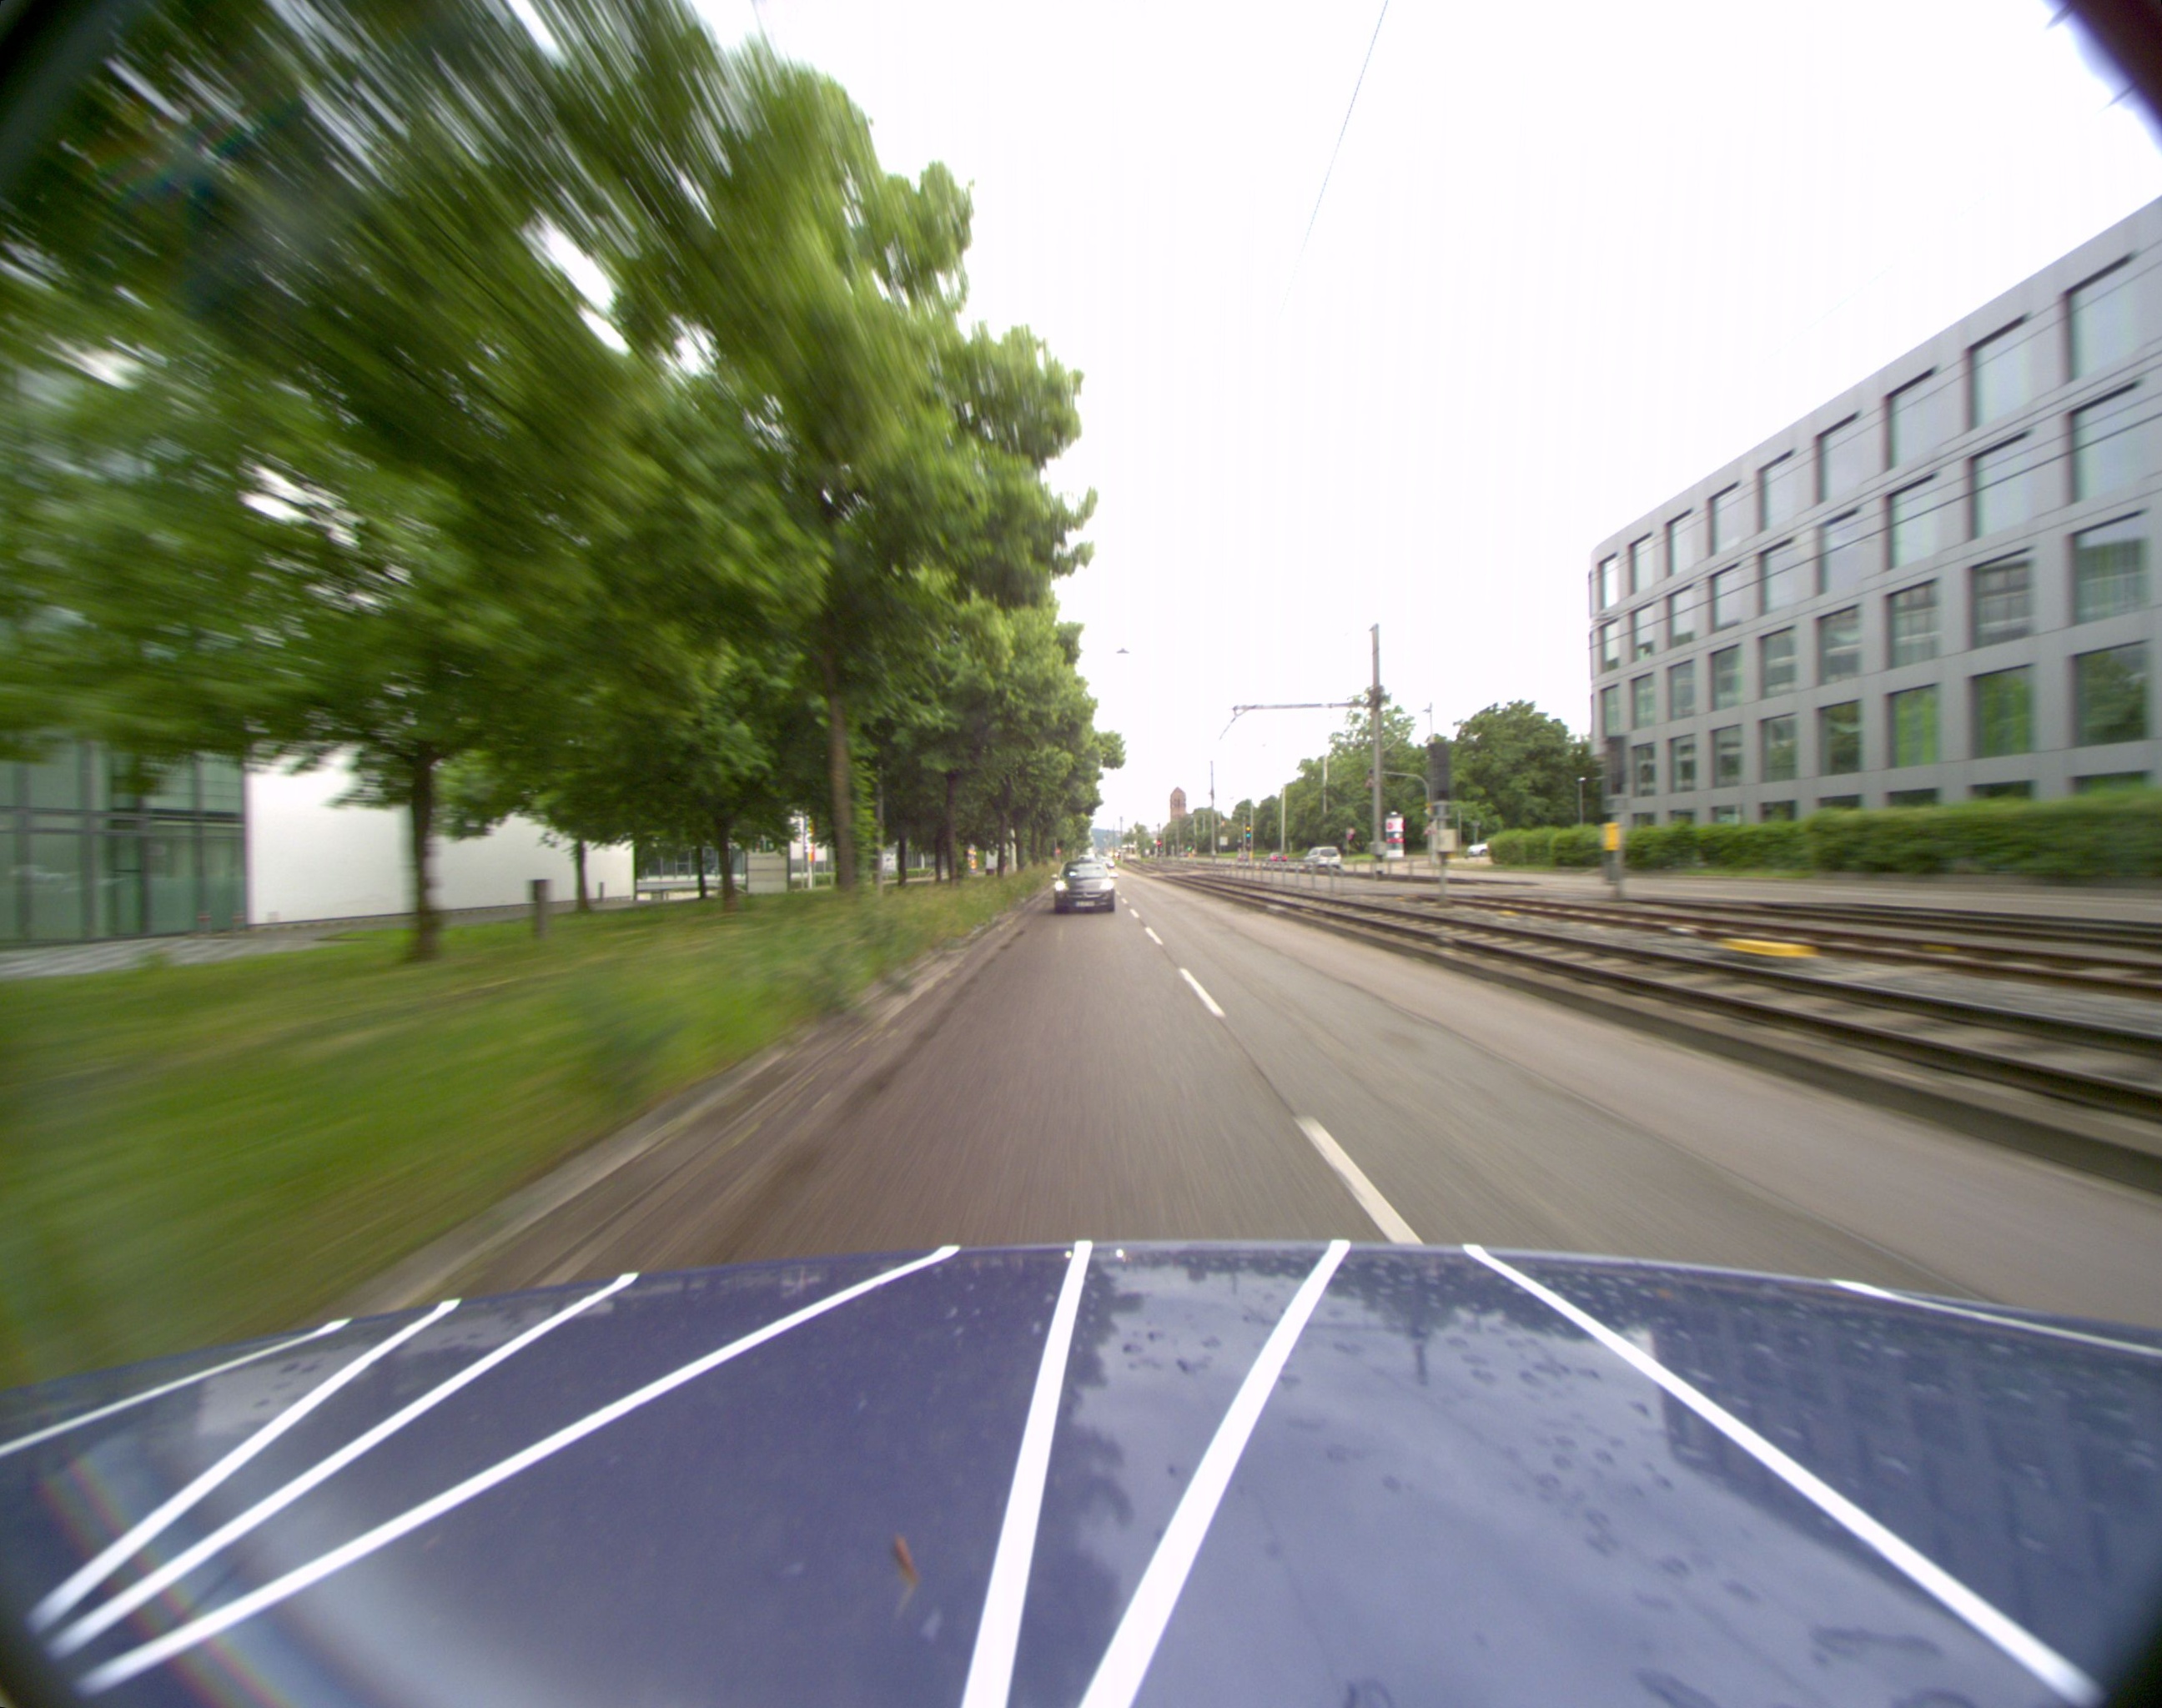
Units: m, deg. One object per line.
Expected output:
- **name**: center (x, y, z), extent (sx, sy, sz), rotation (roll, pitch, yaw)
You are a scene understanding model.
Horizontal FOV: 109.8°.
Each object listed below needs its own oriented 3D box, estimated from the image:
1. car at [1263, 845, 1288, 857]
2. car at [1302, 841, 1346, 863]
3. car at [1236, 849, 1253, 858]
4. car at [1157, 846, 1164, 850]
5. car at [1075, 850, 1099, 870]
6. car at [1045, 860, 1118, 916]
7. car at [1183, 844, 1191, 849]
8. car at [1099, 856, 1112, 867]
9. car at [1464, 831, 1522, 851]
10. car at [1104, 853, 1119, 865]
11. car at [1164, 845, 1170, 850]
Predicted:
- **car**: center (22.661, -0.347, 88.640), extent (1.802, 1.339, 4.259), rotation (-1, 0, 1)
- **car**: center (18.538, -0.161, 58.173), extent (1.907, 1.635, 4.884), rotation (-1, 0, 2)
- **car**: center (25.253, -0.057, 117.632), extent (1.761, 1.237, 3.988), rotation (-1, 0, 1)
- **car**: center (26.392, -1.988, 252.596), extent (1.895, 1.478, 4.309), rotation (-1, 0, 3)
- **car**: center (0.535, 0.523, 66.656), extent (1.998, 1.608, 4.000), rotation (-2, 0, 1)
- **car**: center (0.058, 0.938, 22.637), extent (1.899, 1.432, 4.474), rotation (-2, -1, 1)
- **car**: center (29.601, -2.019, 212.213), extent (1.765, 1.389, 3.901), rotation (-1, 0, 3)
- **car**: center (3.725, 1.138, 115.504), extent (1.812, 1.566, 3.971), rotation (-3, 1, 1)
- **car**: center (36.060, -1.108, 66.533), extent (3.929, 1.444, 1.925), rotation (-4, 0, -1)
- **car**: center (3.969, 0.687, 99.122), extent (1.899, 1.432, 4.246), rotation (-2, -1, 1)
- **car**: center (29.588, -2.226, 261.748), extent (1.952, 1.586, 4.848), rotation (-1, 0, 3)
